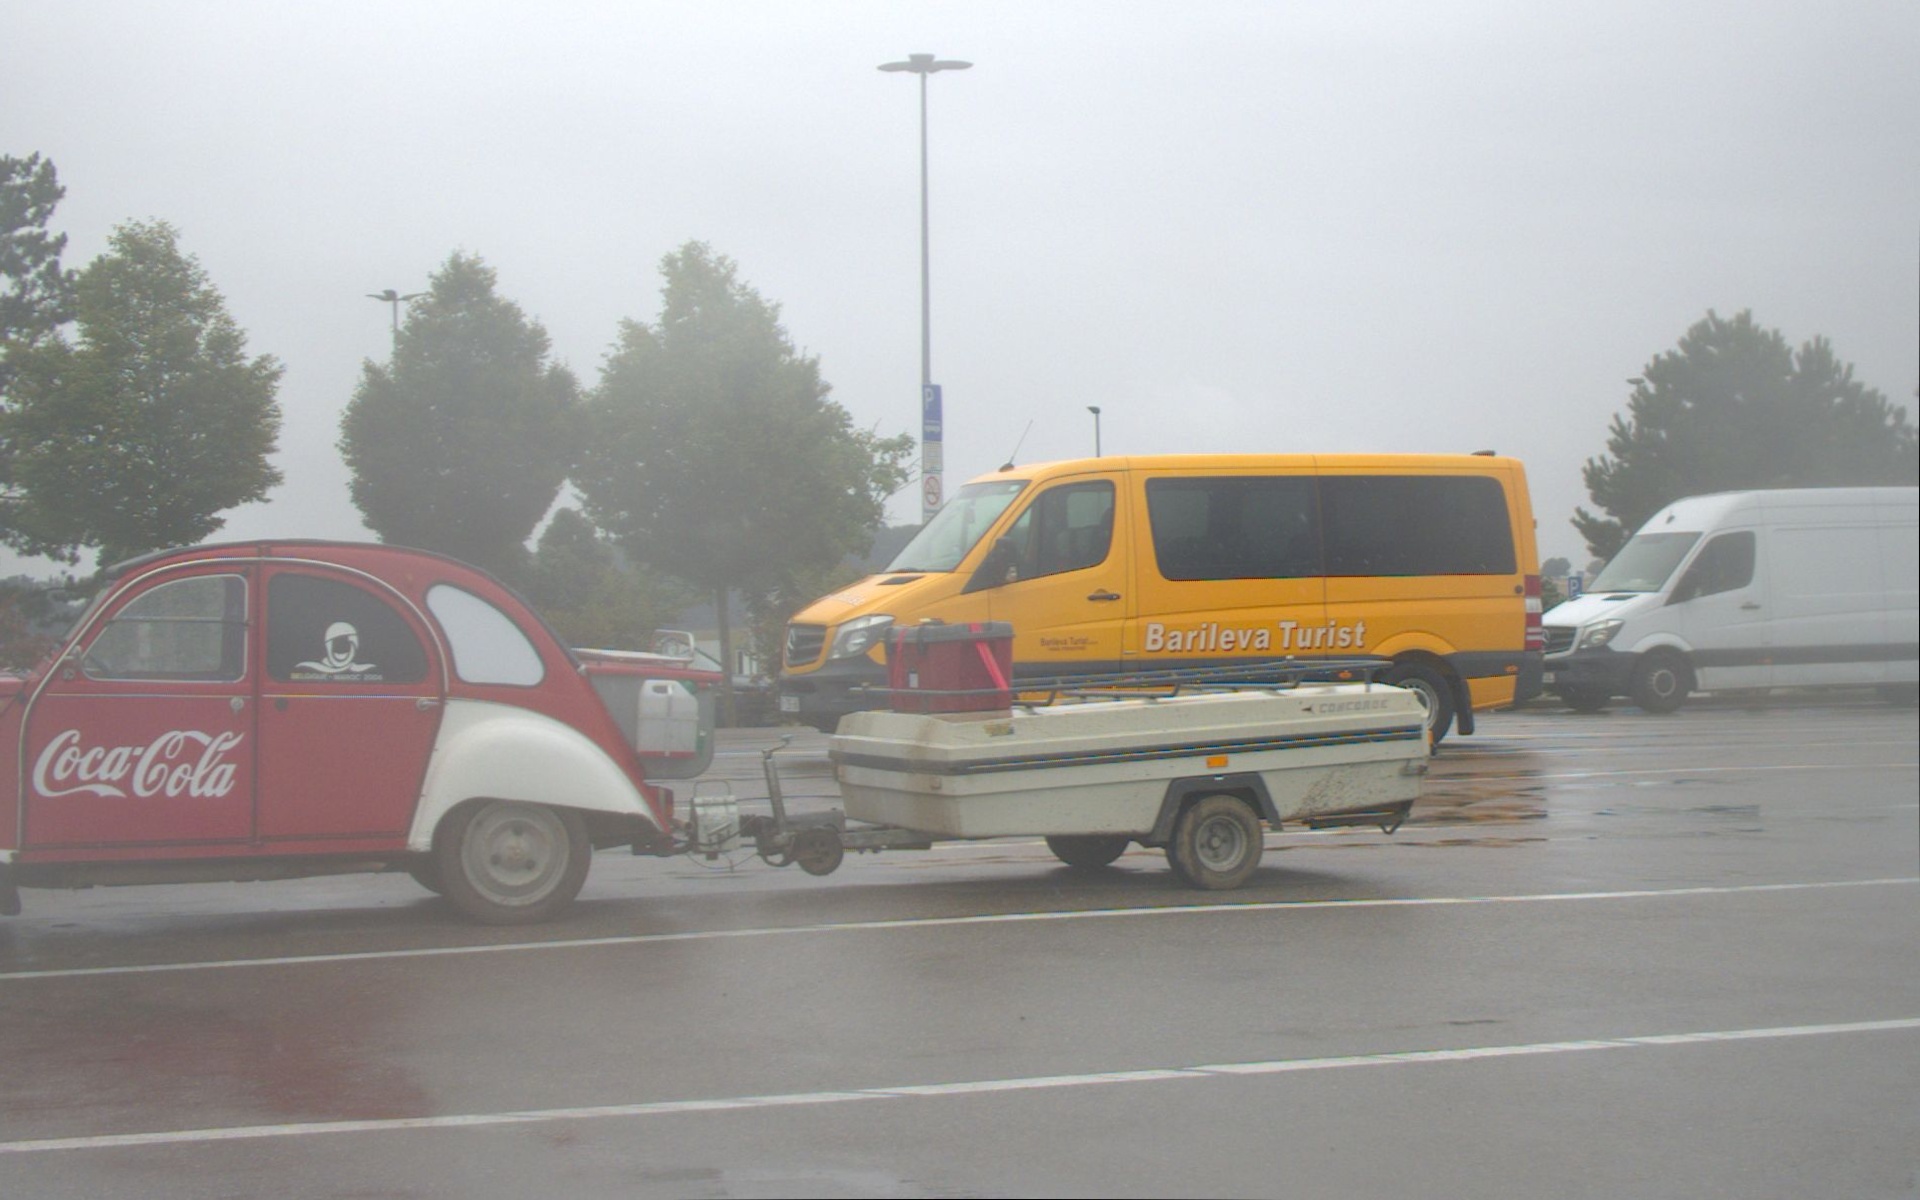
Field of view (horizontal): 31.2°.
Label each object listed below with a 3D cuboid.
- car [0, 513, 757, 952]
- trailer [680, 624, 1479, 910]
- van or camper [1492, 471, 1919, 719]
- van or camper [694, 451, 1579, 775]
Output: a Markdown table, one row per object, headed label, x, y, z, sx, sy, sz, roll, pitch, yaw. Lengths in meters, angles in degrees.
| label | x | y | z | sx | sy | sz | roll | pitch | yaw |
| --- | --- | --- | --- | --- | --- | --- | --- | --- | --- |
| car | -2.946 | 0.478 | 13.436 | 4.042 | 1.550 | 1.550 | -1 | 1 | -15 |
| trailer | 0.460 | 0.656 | 14.490 | 3.019 | 1.064 | 1.589 | -1 | 0 | -15 |
| van or camper | 9.894 | -0.140 | 40.443 | 7.043 | 2.706 | 2.001 | -1 | 2 | -18 |
| van or camper | 1.352 | 0.037 | 26.343 | 6.395 | 2.239 | 2.135 | -1 | 1 | -18 |
